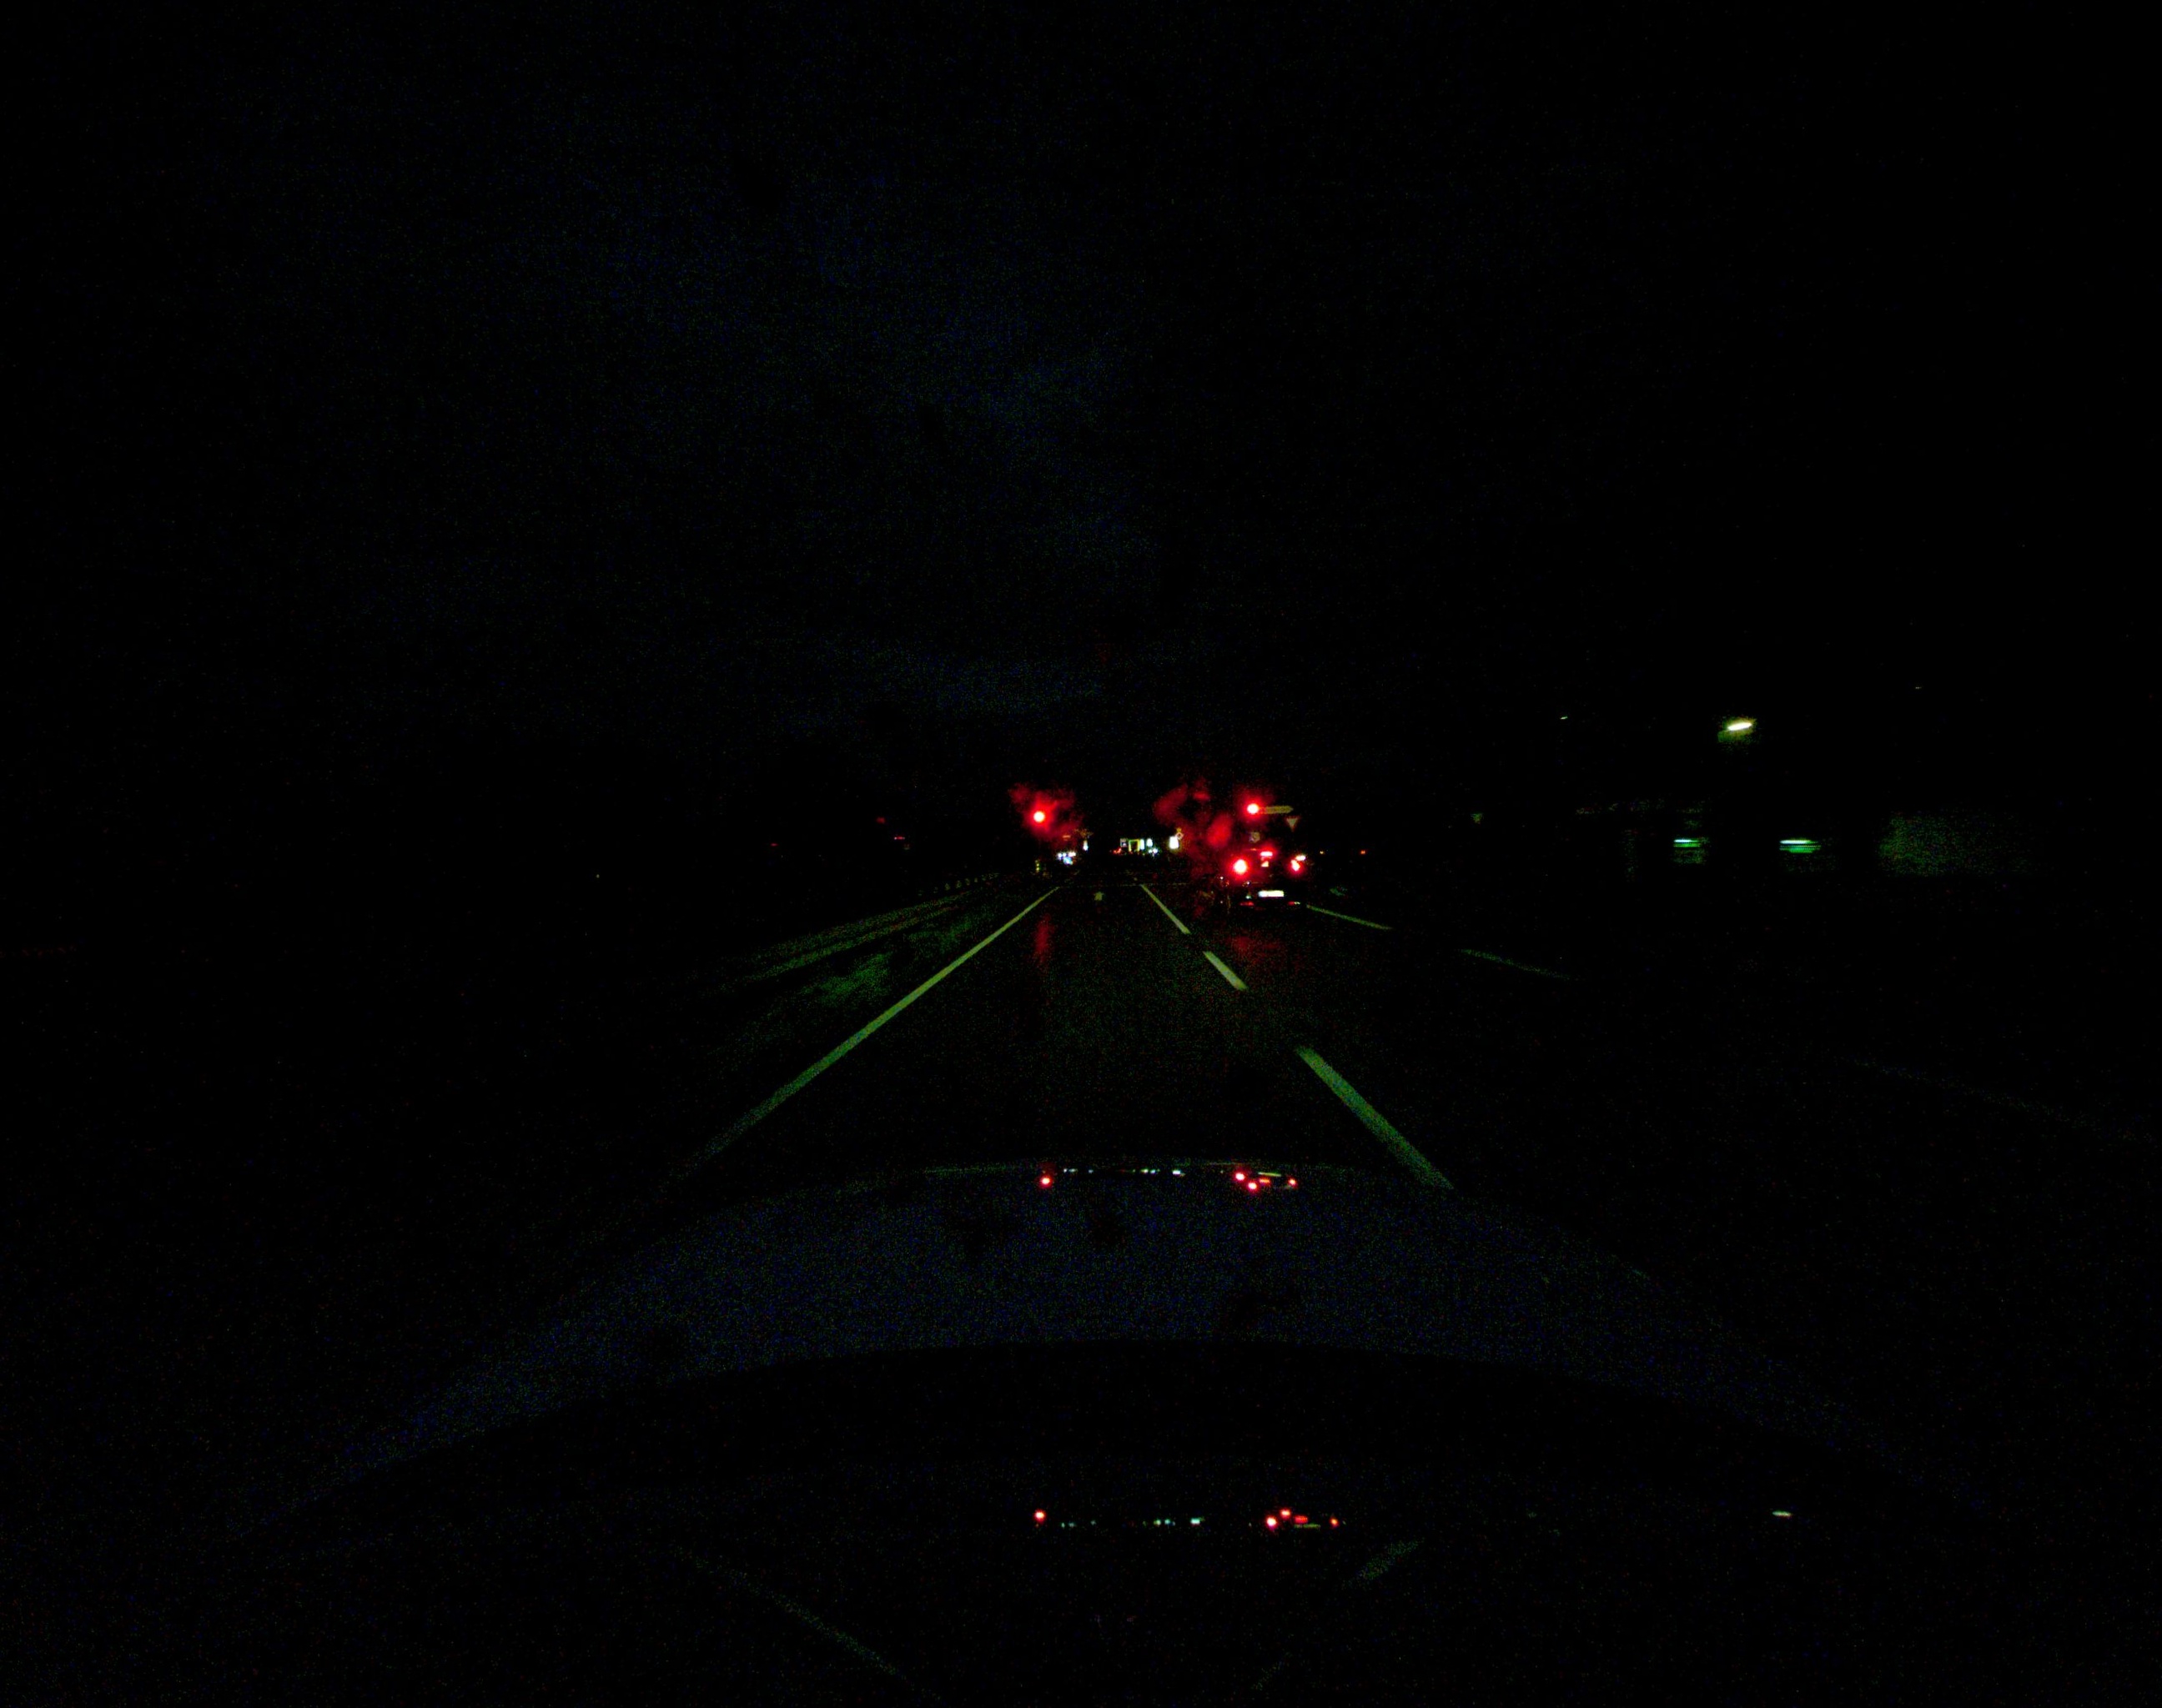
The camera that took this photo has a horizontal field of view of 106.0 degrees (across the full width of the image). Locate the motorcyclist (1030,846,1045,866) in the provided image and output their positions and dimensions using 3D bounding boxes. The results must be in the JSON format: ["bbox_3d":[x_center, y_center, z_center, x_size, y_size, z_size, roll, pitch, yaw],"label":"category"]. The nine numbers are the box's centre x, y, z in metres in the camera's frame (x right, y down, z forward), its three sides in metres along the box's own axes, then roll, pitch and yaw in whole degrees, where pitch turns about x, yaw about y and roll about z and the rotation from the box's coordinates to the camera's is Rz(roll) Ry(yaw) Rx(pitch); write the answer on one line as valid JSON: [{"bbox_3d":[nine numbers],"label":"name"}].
[{"bbox_3d":[-3.701,0.177,69.538,1.135,1.584,0.971,-3,0,-5],"label":"motorcyclist"}]

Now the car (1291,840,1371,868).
[{"bbox_3d":[16.278,0.003,53.249,4.583,1.520,2.001,-3,0,1],"label":"car"}]

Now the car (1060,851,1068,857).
[{"bbox_3d":[-4.792,-0.056,234.861,1.986,1.519,4.299,-3,0,1],"label":"car"}]

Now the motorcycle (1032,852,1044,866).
[{"bbox_3d":[-3.694,0.389,69.622,0.977,1.098,2.505,-3,0,-4],"label":"motorcycle"}]

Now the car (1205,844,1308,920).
[{"bbox_3d":[3.933,0.572,18.895,1.663,1.520,4.109,-2,0,3],"label":"car"}]

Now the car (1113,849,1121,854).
[{"bbox_3d":[10.725,-0.736,242.991,2.266,1.632,4.000,-3,0,1],"label":"car"}]

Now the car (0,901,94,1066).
[{"bbox_3d":[-12.200,1.411,7.040,1.789,1.671,4.501,-2,0,0],"label":"car"}]
